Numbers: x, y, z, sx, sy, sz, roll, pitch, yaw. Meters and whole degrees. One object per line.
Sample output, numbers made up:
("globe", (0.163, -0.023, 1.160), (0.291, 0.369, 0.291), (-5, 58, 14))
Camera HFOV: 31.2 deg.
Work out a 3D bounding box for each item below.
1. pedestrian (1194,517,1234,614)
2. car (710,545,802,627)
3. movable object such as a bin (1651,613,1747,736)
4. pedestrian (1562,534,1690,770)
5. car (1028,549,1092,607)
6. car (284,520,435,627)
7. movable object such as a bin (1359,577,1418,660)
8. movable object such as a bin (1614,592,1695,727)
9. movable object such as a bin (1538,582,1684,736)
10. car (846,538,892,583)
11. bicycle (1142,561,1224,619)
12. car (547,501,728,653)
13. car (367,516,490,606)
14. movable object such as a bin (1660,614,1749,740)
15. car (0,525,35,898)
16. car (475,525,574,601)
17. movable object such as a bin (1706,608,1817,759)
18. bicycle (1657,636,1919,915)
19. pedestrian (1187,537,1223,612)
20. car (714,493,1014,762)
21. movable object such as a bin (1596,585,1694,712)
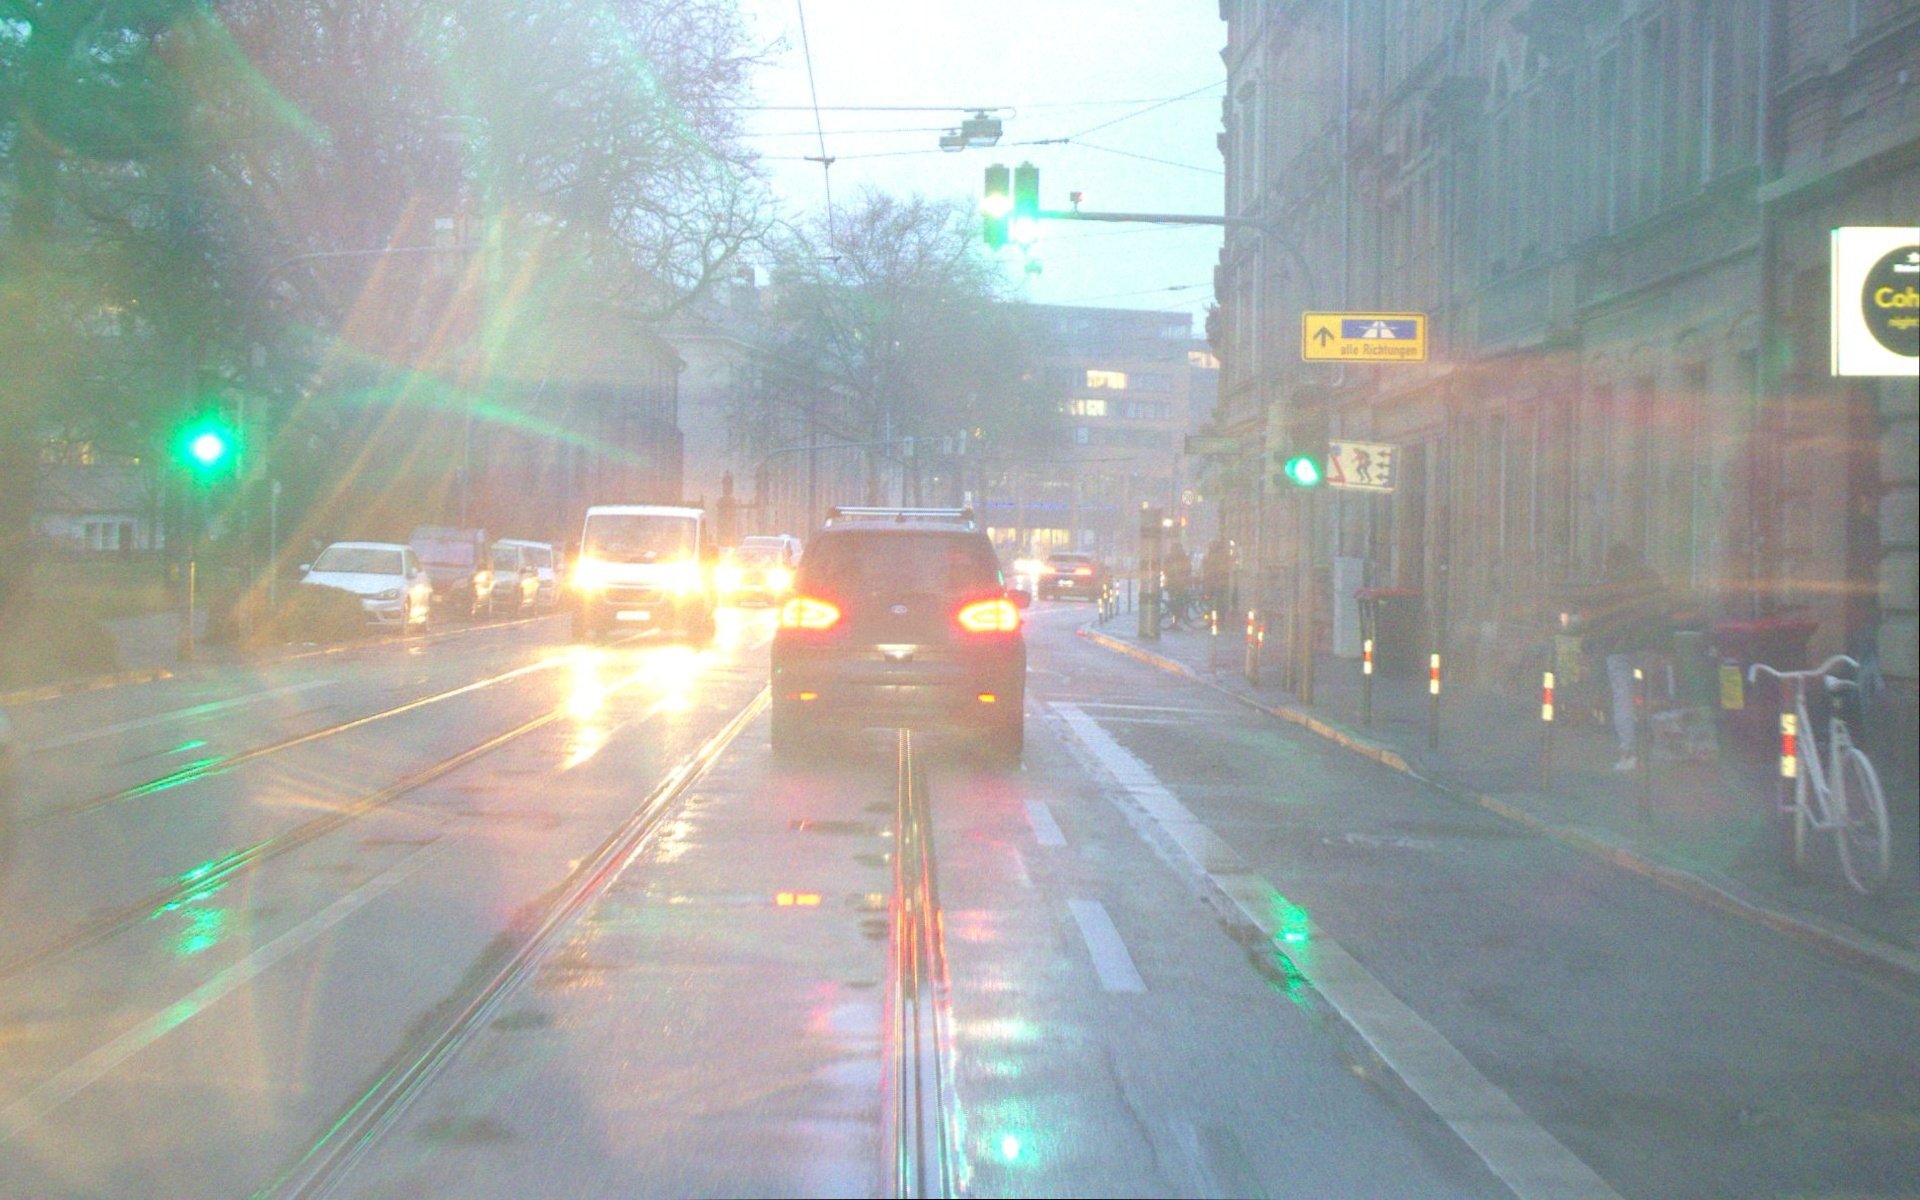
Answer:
("pedestrian", (5.126, -0.701, 69.501), (0.715, 1.946, 0.657), (1, 0, 0))
("car", (-5.197, -0.366, 87.980), (1.993, 2.007, 4.000), (1, 0, 1))
("movable object such as a bin", (5.681, 0.570, 26.455), (0.611, 0.925, 0.491), (0, 1, -2))
("pedestrian", (4.909, 0.372, 25.395), (0.835, 1.695, 0.953), (1, 0, 8))
("car", (3.263, -0.739, 112.093), (1.993, 1.835, 4.000), (1, 1, 2))
("car", (-9.606, -0.435, 55.303), (1.983, 1.610, 4.430), (1, 0, -5))
("movable object such as a bin", (5.566, 0.234, 44.650), (0.640, 1.051, 0.744), (1, 0, -1))
("movable object such as a bin", (5.696, 0.480, 28.185), (0.611, 1.078, 0.599), (1, 1, 14))
("movable object such as a bin", (5.648, 0.499, 29.898), (0.887, 1.284, 1.262), (0, 1, -8))
("car", (-4.141, -1.795, 157.048), (1.993, 2.007, 4.000), (1, 0, -1))
("bicycle", (4.480, -0.211, 69.294), (0.792, 1.140, 2.244), (1, 0, -20))
("car", (-5.179, -0.380, 56.065), (2.446, 2.339, 5.845), (0, 0, 0))
("car", (-10.124, -0.741, 65.716), (1.983, 1.610, 4.430), (1, 0, -5))
("movable object such as a bin", (5.603, 0.572, 25.894), (0.488, 0.925, 0.425), (0, 1, -27))
("car", (-4.548, 0.457, 12.322), (1.530, 1.476, 3.561), (1, 1, -1))
("car", (-9.770, -0.835, 77.371), (1.983, 1.610, 4.430), (1, 0, -5))
("movable object such as a bin", (5.906, 0.607, 25.340), (0.611, 1.077, 0.491), (0, 1, -29))
("bicycle", (3.829, 0.771, 15.971), (0.684, 1.152, 2.188), (1, 0, -1))
("pedestrian", (5.856, -0.619, 82.206), (0.771, 1.769, 0.685), (1, 0, -1))
("car", (-0.639, 0.160, 25.894), (1.993, 1.835, 4.000), (1, 1, 2))
("movable object such as a bin", (5.751, 0.404, 28.849), (0.765, 1.035, 0.599), (1, 1, 14))
